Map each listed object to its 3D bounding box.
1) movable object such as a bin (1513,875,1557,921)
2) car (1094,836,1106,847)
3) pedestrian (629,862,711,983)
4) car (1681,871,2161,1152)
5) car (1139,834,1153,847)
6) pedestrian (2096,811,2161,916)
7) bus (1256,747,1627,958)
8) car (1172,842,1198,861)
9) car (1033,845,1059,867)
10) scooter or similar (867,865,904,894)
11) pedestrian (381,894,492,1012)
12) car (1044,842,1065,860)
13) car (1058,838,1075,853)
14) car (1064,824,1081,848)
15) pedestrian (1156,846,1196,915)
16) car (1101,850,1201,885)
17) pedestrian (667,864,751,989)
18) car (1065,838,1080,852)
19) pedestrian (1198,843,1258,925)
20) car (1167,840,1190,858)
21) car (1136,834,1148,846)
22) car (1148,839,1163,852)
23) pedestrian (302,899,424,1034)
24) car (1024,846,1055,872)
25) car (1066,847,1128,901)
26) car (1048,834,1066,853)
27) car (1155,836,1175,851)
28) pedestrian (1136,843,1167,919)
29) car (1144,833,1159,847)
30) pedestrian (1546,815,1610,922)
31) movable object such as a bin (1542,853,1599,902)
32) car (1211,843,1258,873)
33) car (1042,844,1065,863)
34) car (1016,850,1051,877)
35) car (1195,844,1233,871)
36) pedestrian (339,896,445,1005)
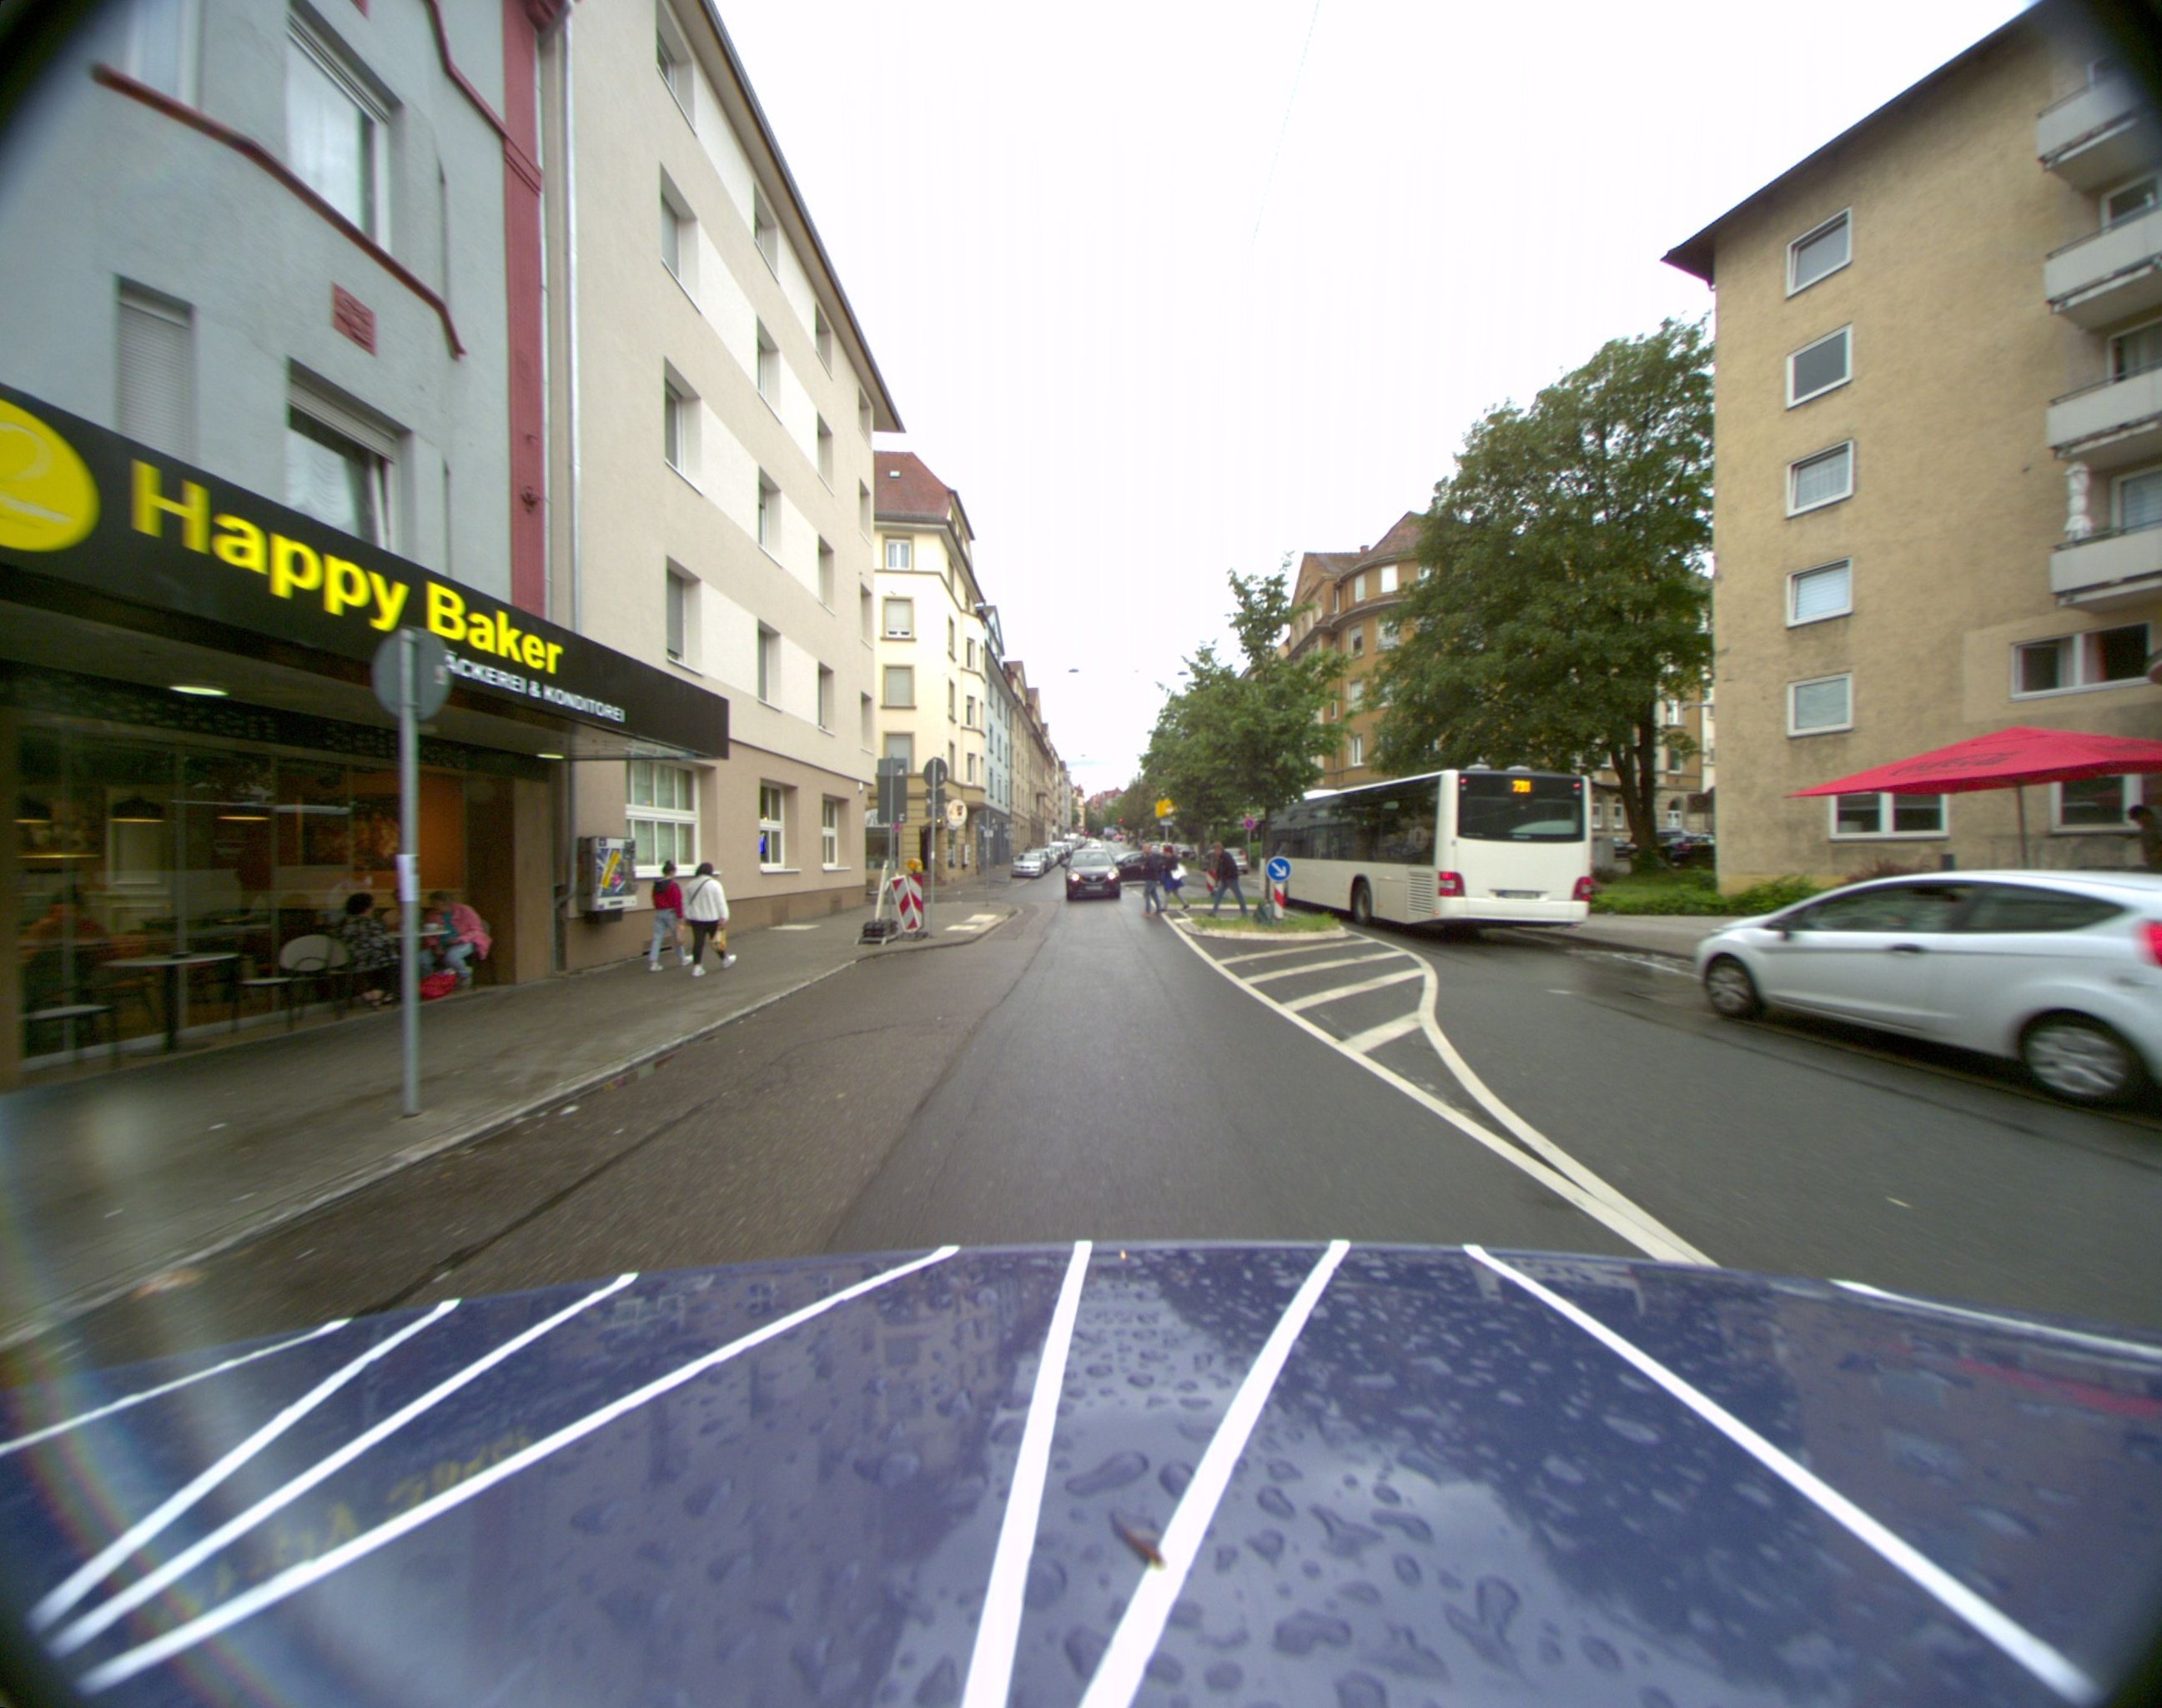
[{"bbox_3d":[11.092,1.069,18.571,0.742,1.052,0.579,-1,2,5],"label":"movable object such as a bin"},{"bbox_3d":[3.056,-2.052,123.843,1.796,1.768,3.902,-1,1,0],"label":"car"},{"bbox_3d":[-5.905,0.945,10.921,0.701,1.637,0.784,2,1,36],"label":"pedestrian"},{"bbox_3d":[6.774,0.930,5.643,1.619,1.455,3.806,2,0,1],"label":"car"},{"bbox_3d":[9.632,-2.053,112.913,1.640,1.871,3.658,-1,1,0],"label":"car"},{"bbox_3d":[17.094,0.128,12.043,1.153,1.602,0.940,-3,1,-24],"label":"pedestrian"},{"bbox_3d":[7.146,-0.133,18.160,2.813,3.228,11.957,3,1,-1],"label":"bus"},{"bbox_3d":[9.142,-0.232,66.877,1.672,1.507,3.696,-3,1,0],"label":"car"},{"bbox_3d":[-2.676,0.132,58.050,1.776,1.583,3.550,-2,1,0],"label":"car"},{"bbox_3d":[-8.722,1.133,33.948,1.482,1.144,0.486,-4,8,-37],"label":"scooter or similar"},{"bbox_3d":[-7.377,1.111,8.727,0.703,1.251,0.658,1,1,1],"label":"pedestrian"},{"bbox_3d":[-2.386,-0.280,68.233,1.733,1.486,3.550,-2,1,0],"label":"car"},{"bbox_3d":[-1.798,-1.099,96.470,1.998,1.871,3.999,-1,1,0],"label":"car"},{"bbox_3d":[-1.294,-2.770,120.492,2.554,3.613,9.048,-1,1,0],"label":"car"},{"bbox_3d":[2.347,0.640,18.723,0.791,1.656,0.699,-3,0,16],"label":"pedestrian"},{"bbox_3d":[3.081,0.570,33.710,4.003,1.412,1.809,-1,0,-17],"label":"car"},{"bbox_3d":[-5.175,0.965,10.589,0.701,1.637,0.784,2,1,36],"label":"pedestrian"},{"bbox_3d":[-1.099,-1.284,105.586,1.998,1.871,3.999,-1,1,0],"label":"car"},{"bbox_3d":[3.166,0.631,16.468,1.063,1.738,0.854,1,1,-3],"label":"pedestrian"},{"bbox_3d":[9.223,-0.498,72.313,1.672,1.507,3.393,-3,1,0],"label":"car"},{"bbox_3d":[9.988,-2.250,124.164,1.640,1.871,3.658,-1,1,0],"label":"car"},{"bbox_3d":[9.651,-1.131,98.626,1.558,1.507,3.393,-3,1,1],"label":"car"},{"bbox_3d":[-7.342,1.122,7.789,0.624,1.251,0.659,1,1,9],"label":"pedestrian"},{"bbox_3d":[-2.754,0.317,51.156,1.817,1.583,3.893,-2,1,0],"label":"car"},{"bbox_3d":[0.472,0.612,26.427,1.856,1.646,4.203,-2,1,-2],"label":"car"},{"bbox_3d":[-2.411,-1.116,78.019,1.733,1.887,3.550,-2,1,0],"label":"car"},{"bbox_3d":[9.070,-1.158,82.414,1.672,1.507,3.393,-3,1,0],"label":"car"},{"bbox_3d":[1.660,0.632,17.953,0.611,1.738,0.698,-3,1,2],"label":"pedestrian"},{"bbox_3d":[9.646,-1.909,103.662,1.640,1.871,3.658,-1,1,0],"label":"car"},{"bbox_3d":[9.658,0.270,14.785,0.703,2.002,0.782,-1,2,-3],"label":"pedestrian"},{"bbox_3d":[11.280,0.526,17.519,0.743,1.052,0.811,-2,2,-24],"label":"movable object such as a bin"},{"bbox_3d":[8.698,0.204,43.231,1.814,1.507,3.675,-3,1,-1],"label":"car"},{"bbox_3d":[-2.193,-0.054,62.236,1.733,1.486,3.550,-2,1,0],"label":"car"},{"bbox_3d":[-2.799,0.516,45.575,1.856,1.456,4.203,-2,1,0],"label":"car"},{"bbox_3d":[8.288,0.164,47.640,1.672,1.507,3.392,-3,1,-1],"label":"car"},{"bbox_3d":[-8.495,1.174,9.396,0.703,1.251,0.658,1,1,1],"label":"pedestrian"}]
